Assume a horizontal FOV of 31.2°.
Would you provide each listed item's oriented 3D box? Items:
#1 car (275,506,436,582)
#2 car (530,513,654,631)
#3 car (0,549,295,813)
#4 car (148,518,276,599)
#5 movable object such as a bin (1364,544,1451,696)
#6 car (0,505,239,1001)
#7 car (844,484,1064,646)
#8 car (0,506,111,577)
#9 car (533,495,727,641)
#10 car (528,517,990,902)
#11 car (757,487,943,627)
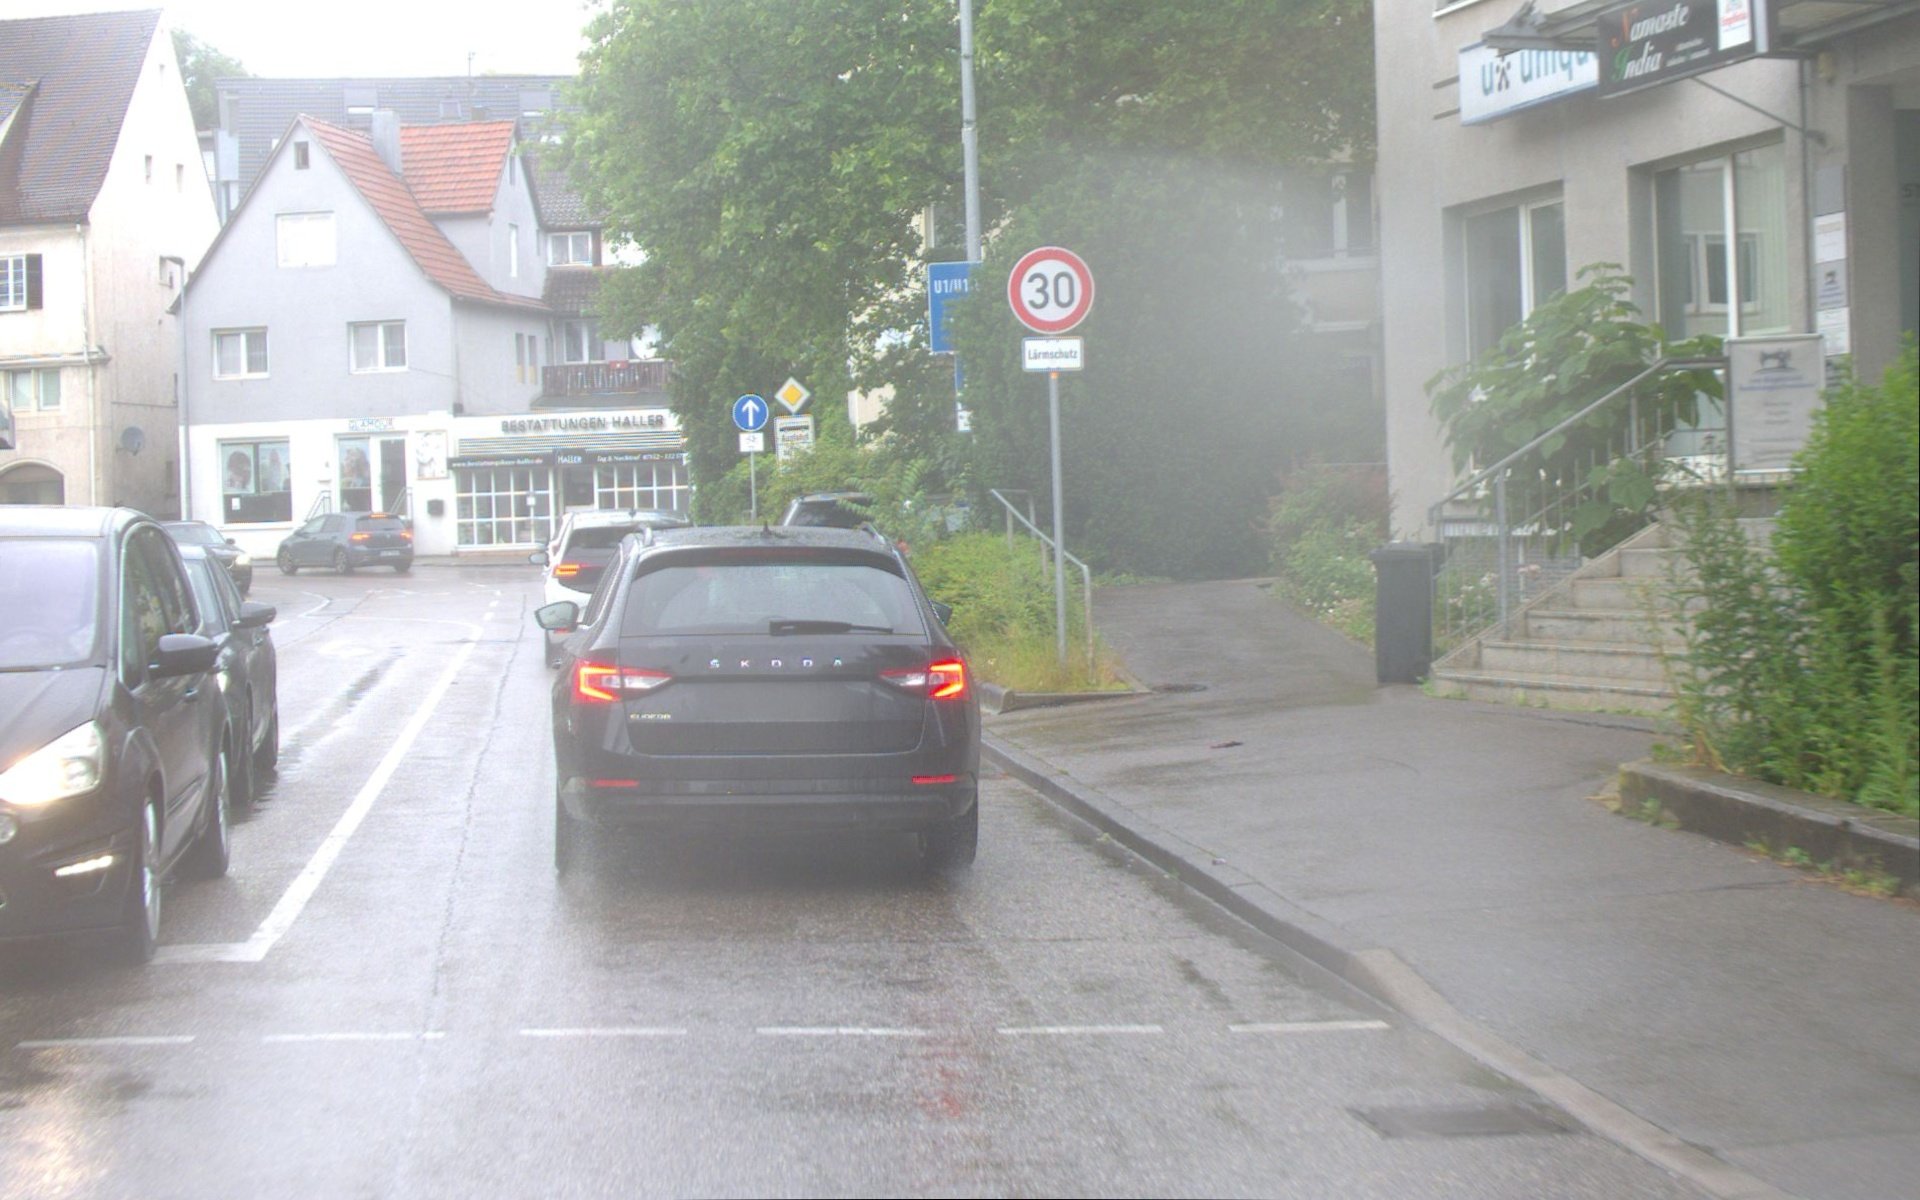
[{"bbox_3d":[-14.124,-1.303,80.225,1.894,1.585,3.686,-3,0,-44],"label":"car"},{"bbox_3d":[-5.471,-0.384,51.470,1.727,1.585,4.184,0,-2,-5],"label":"car"},{"bbox_3d":[-4.810,0.396,19.924,1.616,1.329,3.954,-1,1,-7],"label":"car"},{"bbox_3d":[-15.468,-0.835,70.940,1.658,1.565,4.001,-2,1,-26],"label":"car"},{"bbox_3d":[2.990,0.127,22.950,0.512,0.942,0.602,2,5,12],"label":"movable object such as a bin"},{"bbox_3d":[-3.810,0.441,12.929,1.784,1.557,4.403,-1,1,-7],"label":"car"},{"bbox_3d":[-0.118,-0.403,38.295,1.852,1.635,3.539,-3,1,-9],"label":"car"},{"bbox_3d":[-23.615,-1.474,87.854,3.685,1.676,1.894,-2,0,41],"label":"car"},{"bbox_3d":[-3.332,-0.335,34.907,1.817,1.355,3.990,-1,1,-5],"label":"car"},{"bbox_3d":[-0.956,0.401,15.607,1.781,1.478,4.247,1,1,-5],"label":"car"},{"bbox_3d":[-1.463,-0.559,44.140,1.852,1.635,3.872,-3,1,-9],"label":"car"}]
